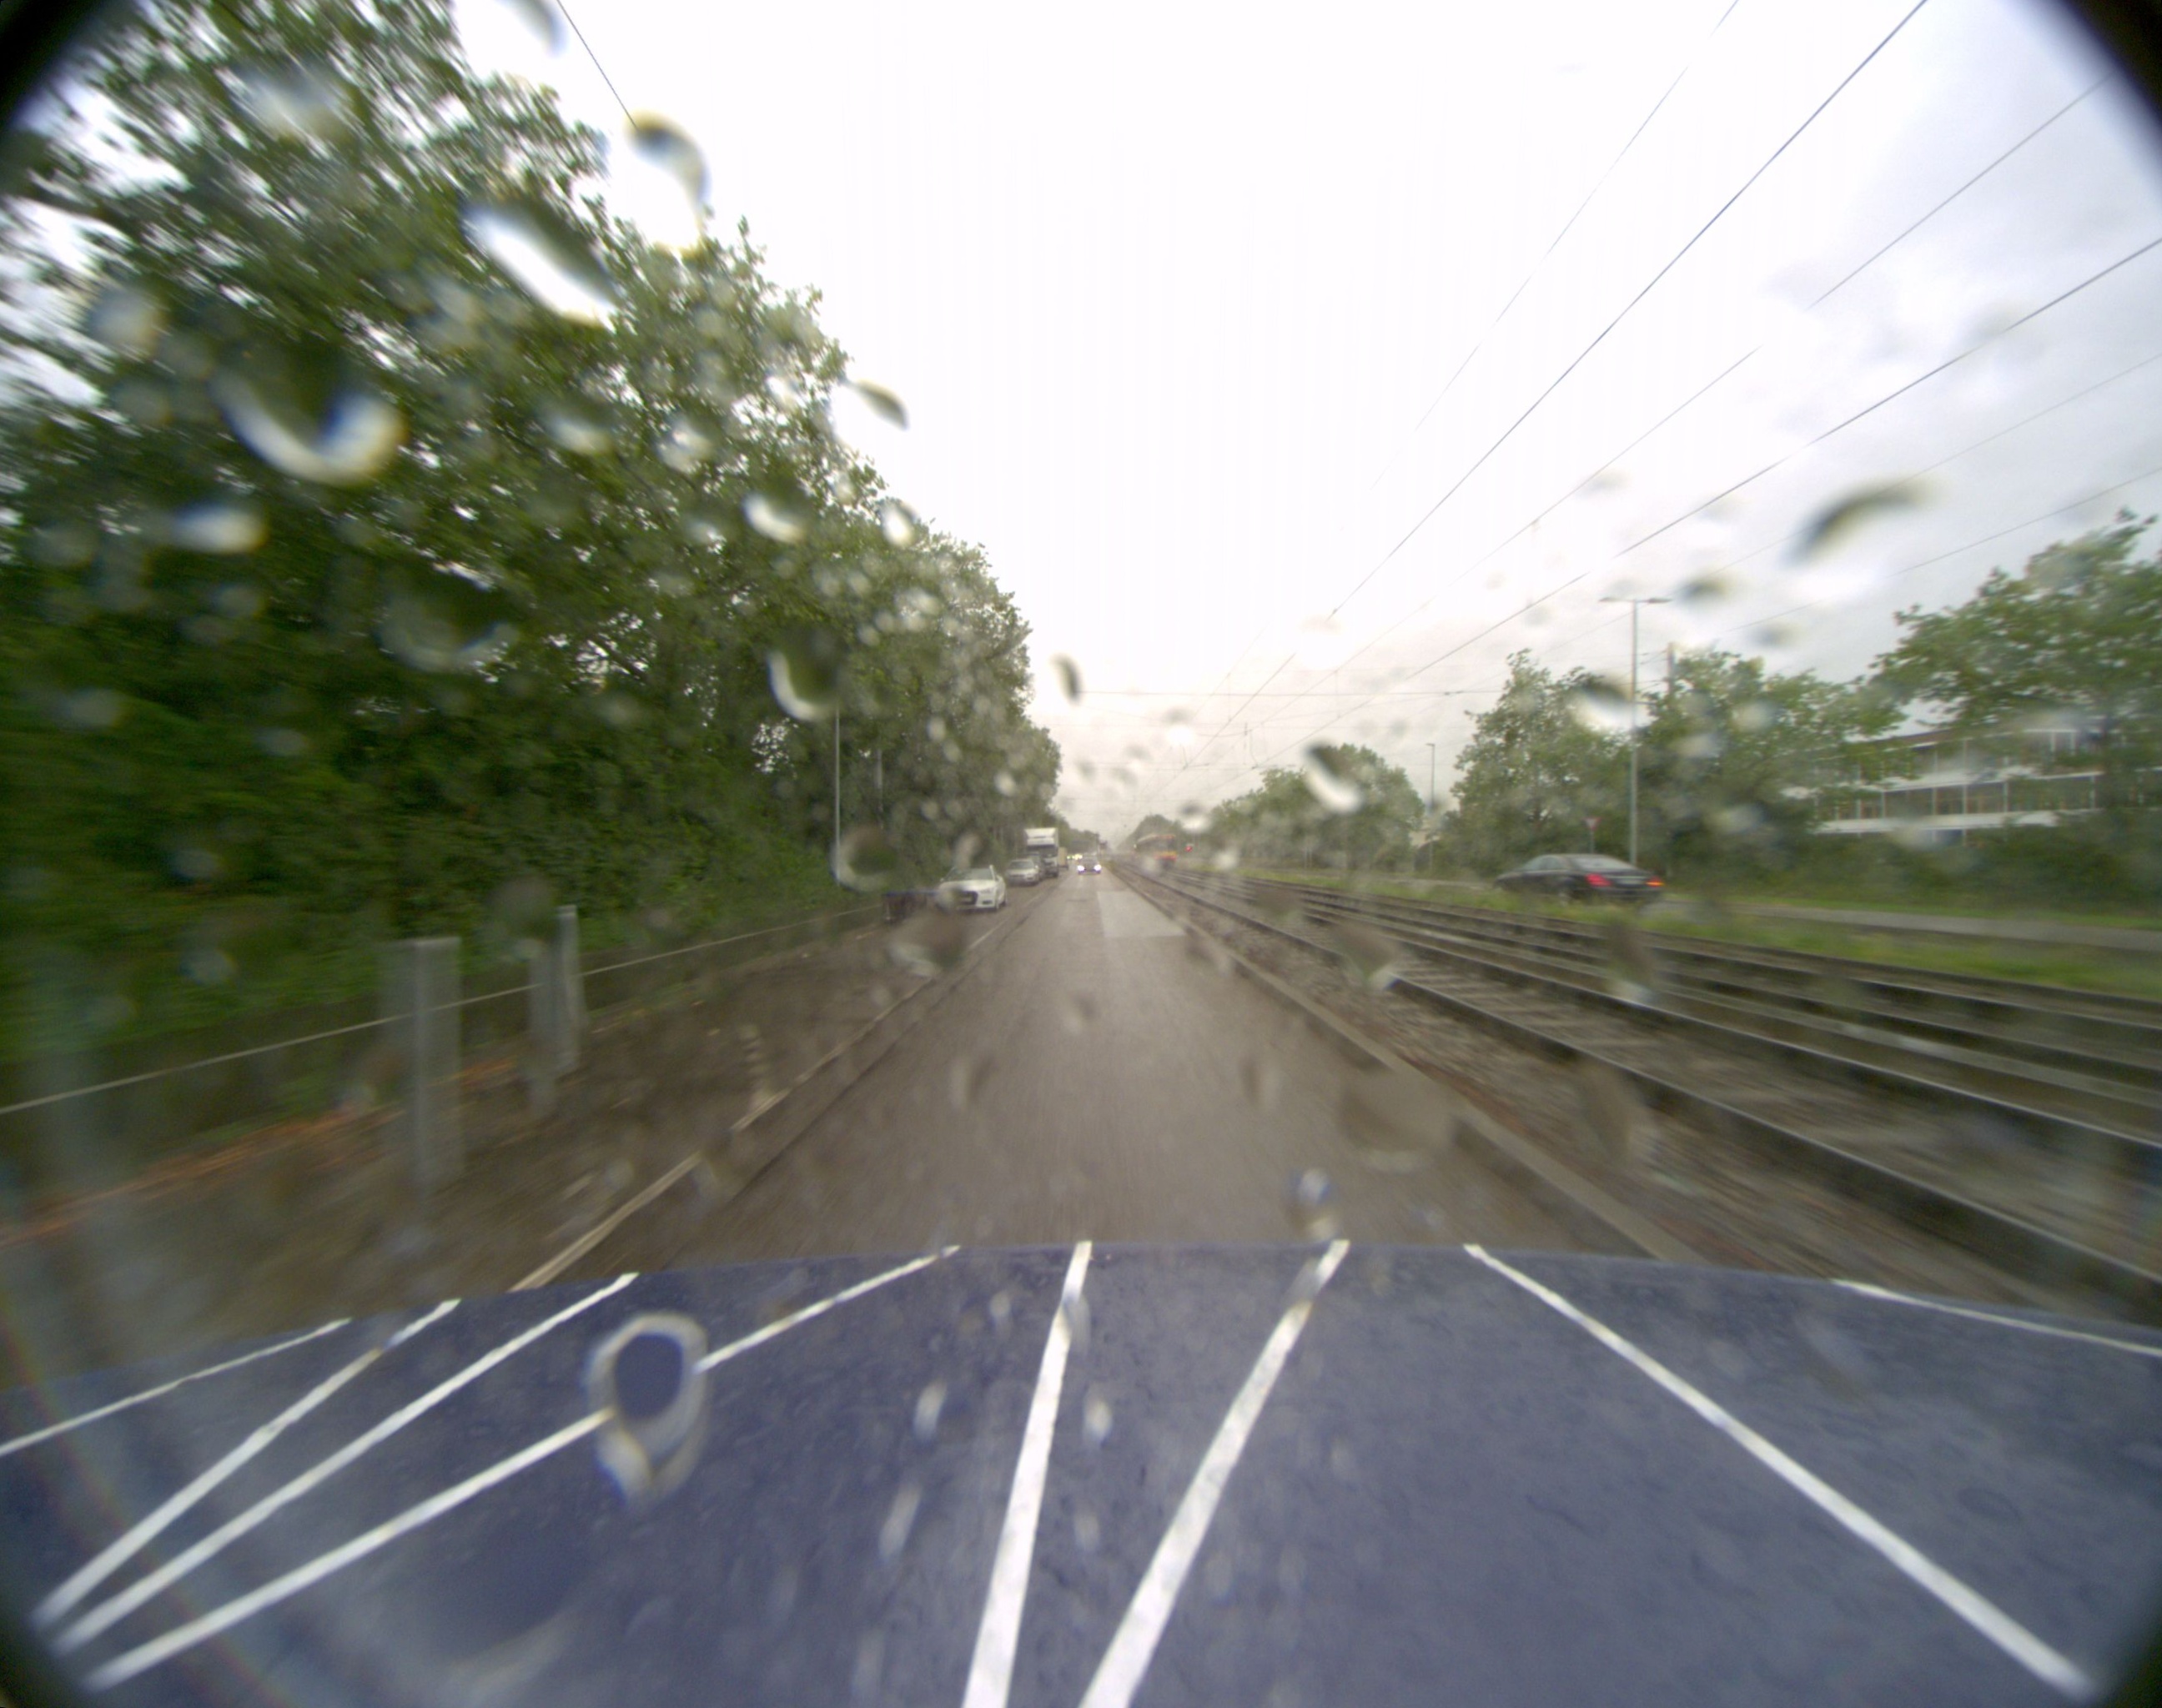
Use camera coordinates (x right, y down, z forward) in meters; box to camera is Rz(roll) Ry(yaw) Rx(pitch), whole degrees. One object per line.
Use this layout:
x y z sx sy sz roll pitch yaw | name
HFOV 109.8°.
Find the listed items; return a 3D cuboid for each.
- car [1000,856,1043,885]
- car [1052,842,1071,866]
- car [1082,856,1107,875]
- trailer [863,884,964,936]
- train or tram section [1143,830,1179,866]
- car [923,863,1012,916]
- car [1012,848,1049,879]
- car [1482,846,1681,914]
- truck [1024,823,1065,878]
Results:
-3.290 0.912 42.726 1.998 1.497 4.197 -2 0 1 | car
-2.271 0.010 90.522 1.998 2.661 4.196 -2 0 1 | car
1.179 0.955 64.874 1.998 1.497 4.197 -2 0 1 | car
-3.785 1.240 17.624 1.546 0.931 3.276 -2 -1 1 | trailer
8.821 -0.680 85.573 2.460 3.603 15.105 -2 1 1 | train or tram section
-3.371 1.021 23.425 1.998 1.394 4.197 -2 0 1 | car
-3.255 0.622 49.719 1.998 1.897 4.197 -2 0 1 | car
12.989 0.576 20.203 1.999 1.514 4.956 -2 1 0 | car
-2.746 -0.221 59.147 2.567 3.847 7.846 -2 0 1 | truck
